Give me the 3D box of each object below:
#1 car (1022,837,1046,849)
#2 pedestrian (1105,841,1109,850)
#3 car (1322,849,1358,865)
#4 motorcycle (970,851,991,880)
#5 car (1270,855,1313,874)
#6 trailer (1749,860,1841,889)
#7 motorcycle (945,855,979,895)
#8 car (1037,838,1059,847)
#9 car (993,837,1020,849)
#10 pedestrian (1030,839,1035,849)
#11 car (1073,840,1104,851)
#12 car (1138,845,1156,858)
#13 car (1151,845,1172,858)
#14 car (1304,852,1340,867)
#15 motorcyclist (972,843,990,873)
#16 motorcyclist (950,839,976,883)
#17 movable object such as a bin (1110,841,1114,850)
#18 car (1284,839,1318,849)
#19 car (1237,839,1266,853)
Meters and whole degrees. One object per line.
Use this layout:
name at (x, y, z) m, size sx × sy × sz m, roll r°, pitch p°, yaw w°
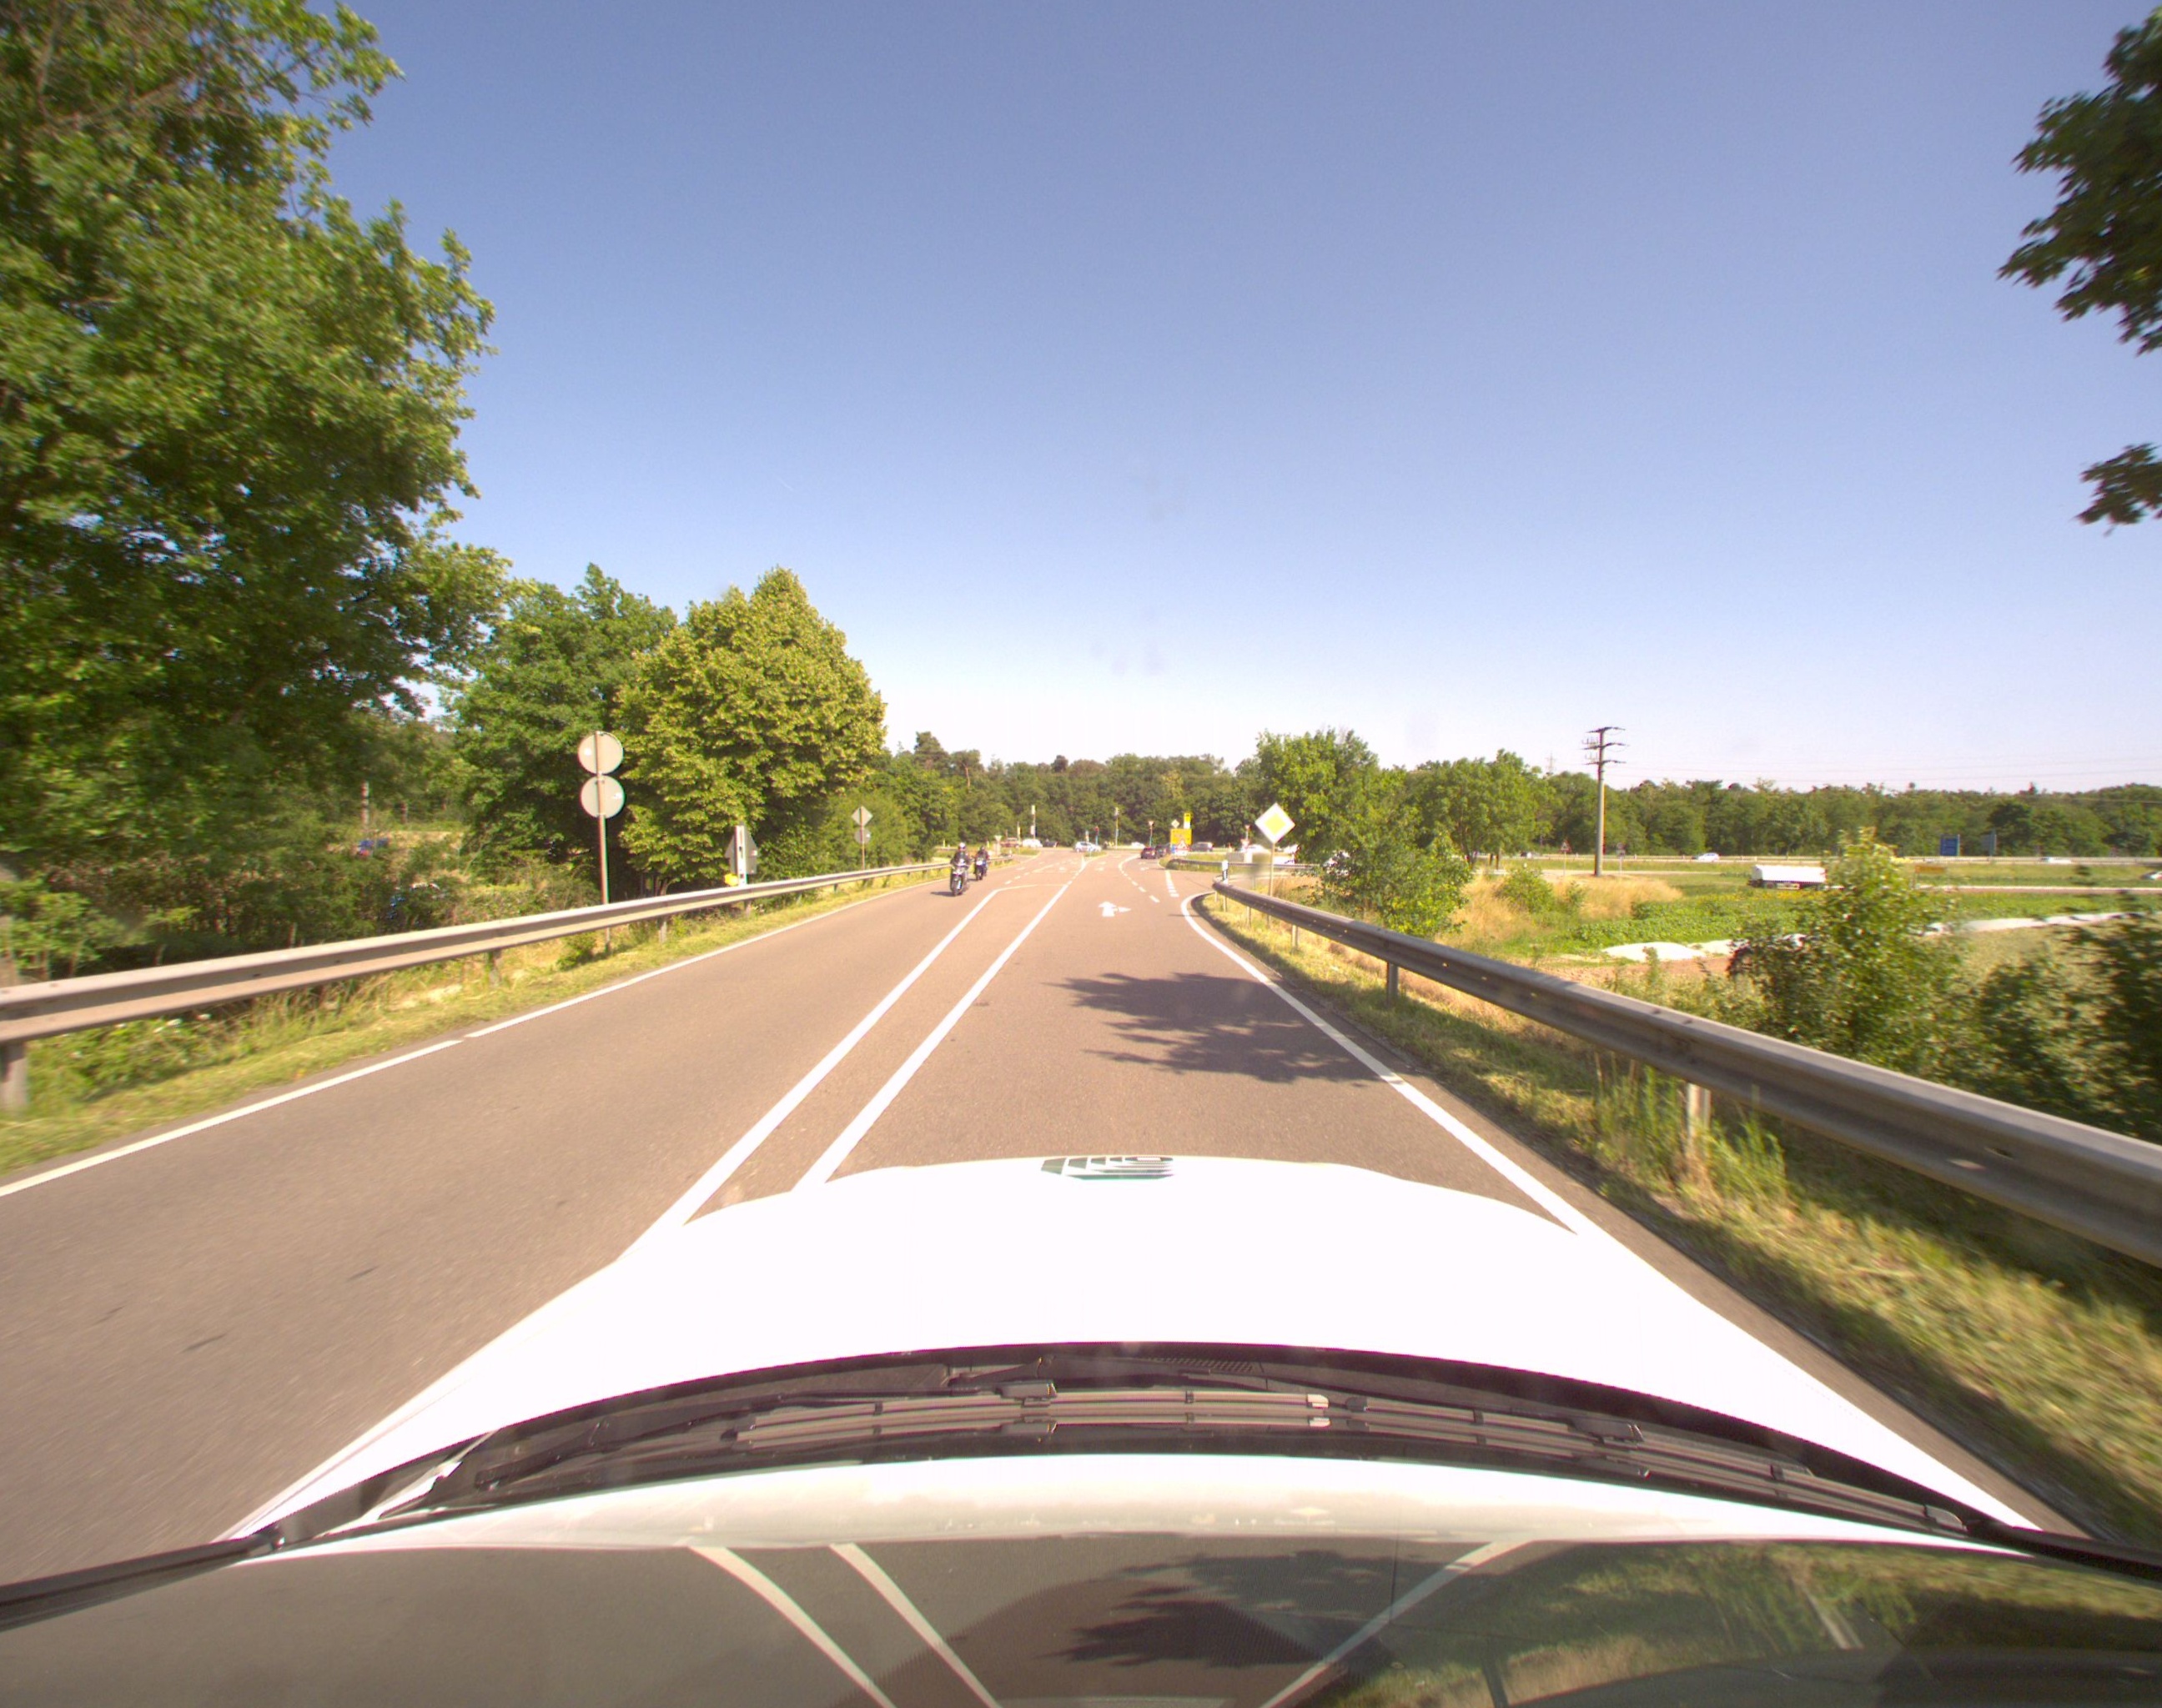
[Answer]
car at (-8.303, -1.941, 143.685) m, size 4.000 × 2.013 × 1.784 m, roll -1°, pitch 0°, yaw -20°
pedestrian at (4.363, -1.443, 135.984) m, size 0.518 × 1.390 × 0.517 m, roll -1°, pitch 0°, yaw 40°
car at (34.362, 0.440, 108.035) m, size 3.950 × 1.876 × 1.903 m, roll 4°, pitch 2°, yaw 41°
motorcycle at (-4.797, 0.520, 39.157) m, size 0.715 × 1.308 × 2.181 m, roll -1°, pitch 0°, yaw 0°
car at (22.535, 1.099, 87.208) m, size 4.323 × 1.783 × 1.909 m, roll 2°, pitch 1°, yaw 14°
trailer at (75.879, 2.164, 86.681) m, size 6.731 × 2.670 × 2.907 m, roll 2°, pitch 1°, yaw 17°
motorcycle at (-3.892, 0.665, 26.768) m, size 0.714 × 1.250 × 2.079 m, roll -1°, pitch 0°, yaw 2°
car at (-6.029, -2.110, 150.517) m, size 3.980 × 1.422 × 1.793 m, roll -1°, pitch 0°, yaw -5°
car at (-11.662, -1.753, 127.587) m, size 3.986 × 1.750 × 1.757 m, roll -1°, pitch 0°, yaw -10°
pedestrian at (-8.461, -1.786, 142.113) m, size 0.671 × 1.721 × 0.763 m, roll 0°, pitch 1°, yaw 22°
car at (1.068, -1.206, 118.632) m, size 4.221 × 1.459 × 1.997 m, roll -1°, pitch 0°, yaw -5°
car at (7.945, -0.346, 97.768) m, size 1.789 × 1.398 × 4.009 m, roll -2°, pitch 0°, yaw 8°
car at (10.356, -0.334, 104.946) m, size 1.785 × 1.501 × 4.020 m, roll 1°, pitch 1°, yaw 19°
car at (30.503, 0.702, 103.082) m, size 3.949 × 1.619 × 1.903 m, roll 4°, pitch 2°, yaw 36°
motorcyclist at (-4.795, 0.198, 39.183) m, size 0.696 × 1.408 × 0.979 m, roll -1°, pitch 0°, yaw 0°
motorcyclist at (-3.894, 0.223, 26.882) m, size 0.696 × 1.408 × 0.785 m, roll -1°, pitch 0°, yaw 2°
movable object such as a bin at (5.195, -1.459, 136.468) m, size 0.598 × 1.488 × 0.734 m, roll -1°, pitch 0°, yaw 9°
car at (34.948, -1.620, 129.369) m, size 4.873 × 1.552 × 1.997 m, roll -1°, pitch 0°, yaw -5°
car at (25.415, -1.144, 121.412) m, size 3.977 × 2.013 × 1.799 m, roll 0°, pitch 1°, yaw -3°
